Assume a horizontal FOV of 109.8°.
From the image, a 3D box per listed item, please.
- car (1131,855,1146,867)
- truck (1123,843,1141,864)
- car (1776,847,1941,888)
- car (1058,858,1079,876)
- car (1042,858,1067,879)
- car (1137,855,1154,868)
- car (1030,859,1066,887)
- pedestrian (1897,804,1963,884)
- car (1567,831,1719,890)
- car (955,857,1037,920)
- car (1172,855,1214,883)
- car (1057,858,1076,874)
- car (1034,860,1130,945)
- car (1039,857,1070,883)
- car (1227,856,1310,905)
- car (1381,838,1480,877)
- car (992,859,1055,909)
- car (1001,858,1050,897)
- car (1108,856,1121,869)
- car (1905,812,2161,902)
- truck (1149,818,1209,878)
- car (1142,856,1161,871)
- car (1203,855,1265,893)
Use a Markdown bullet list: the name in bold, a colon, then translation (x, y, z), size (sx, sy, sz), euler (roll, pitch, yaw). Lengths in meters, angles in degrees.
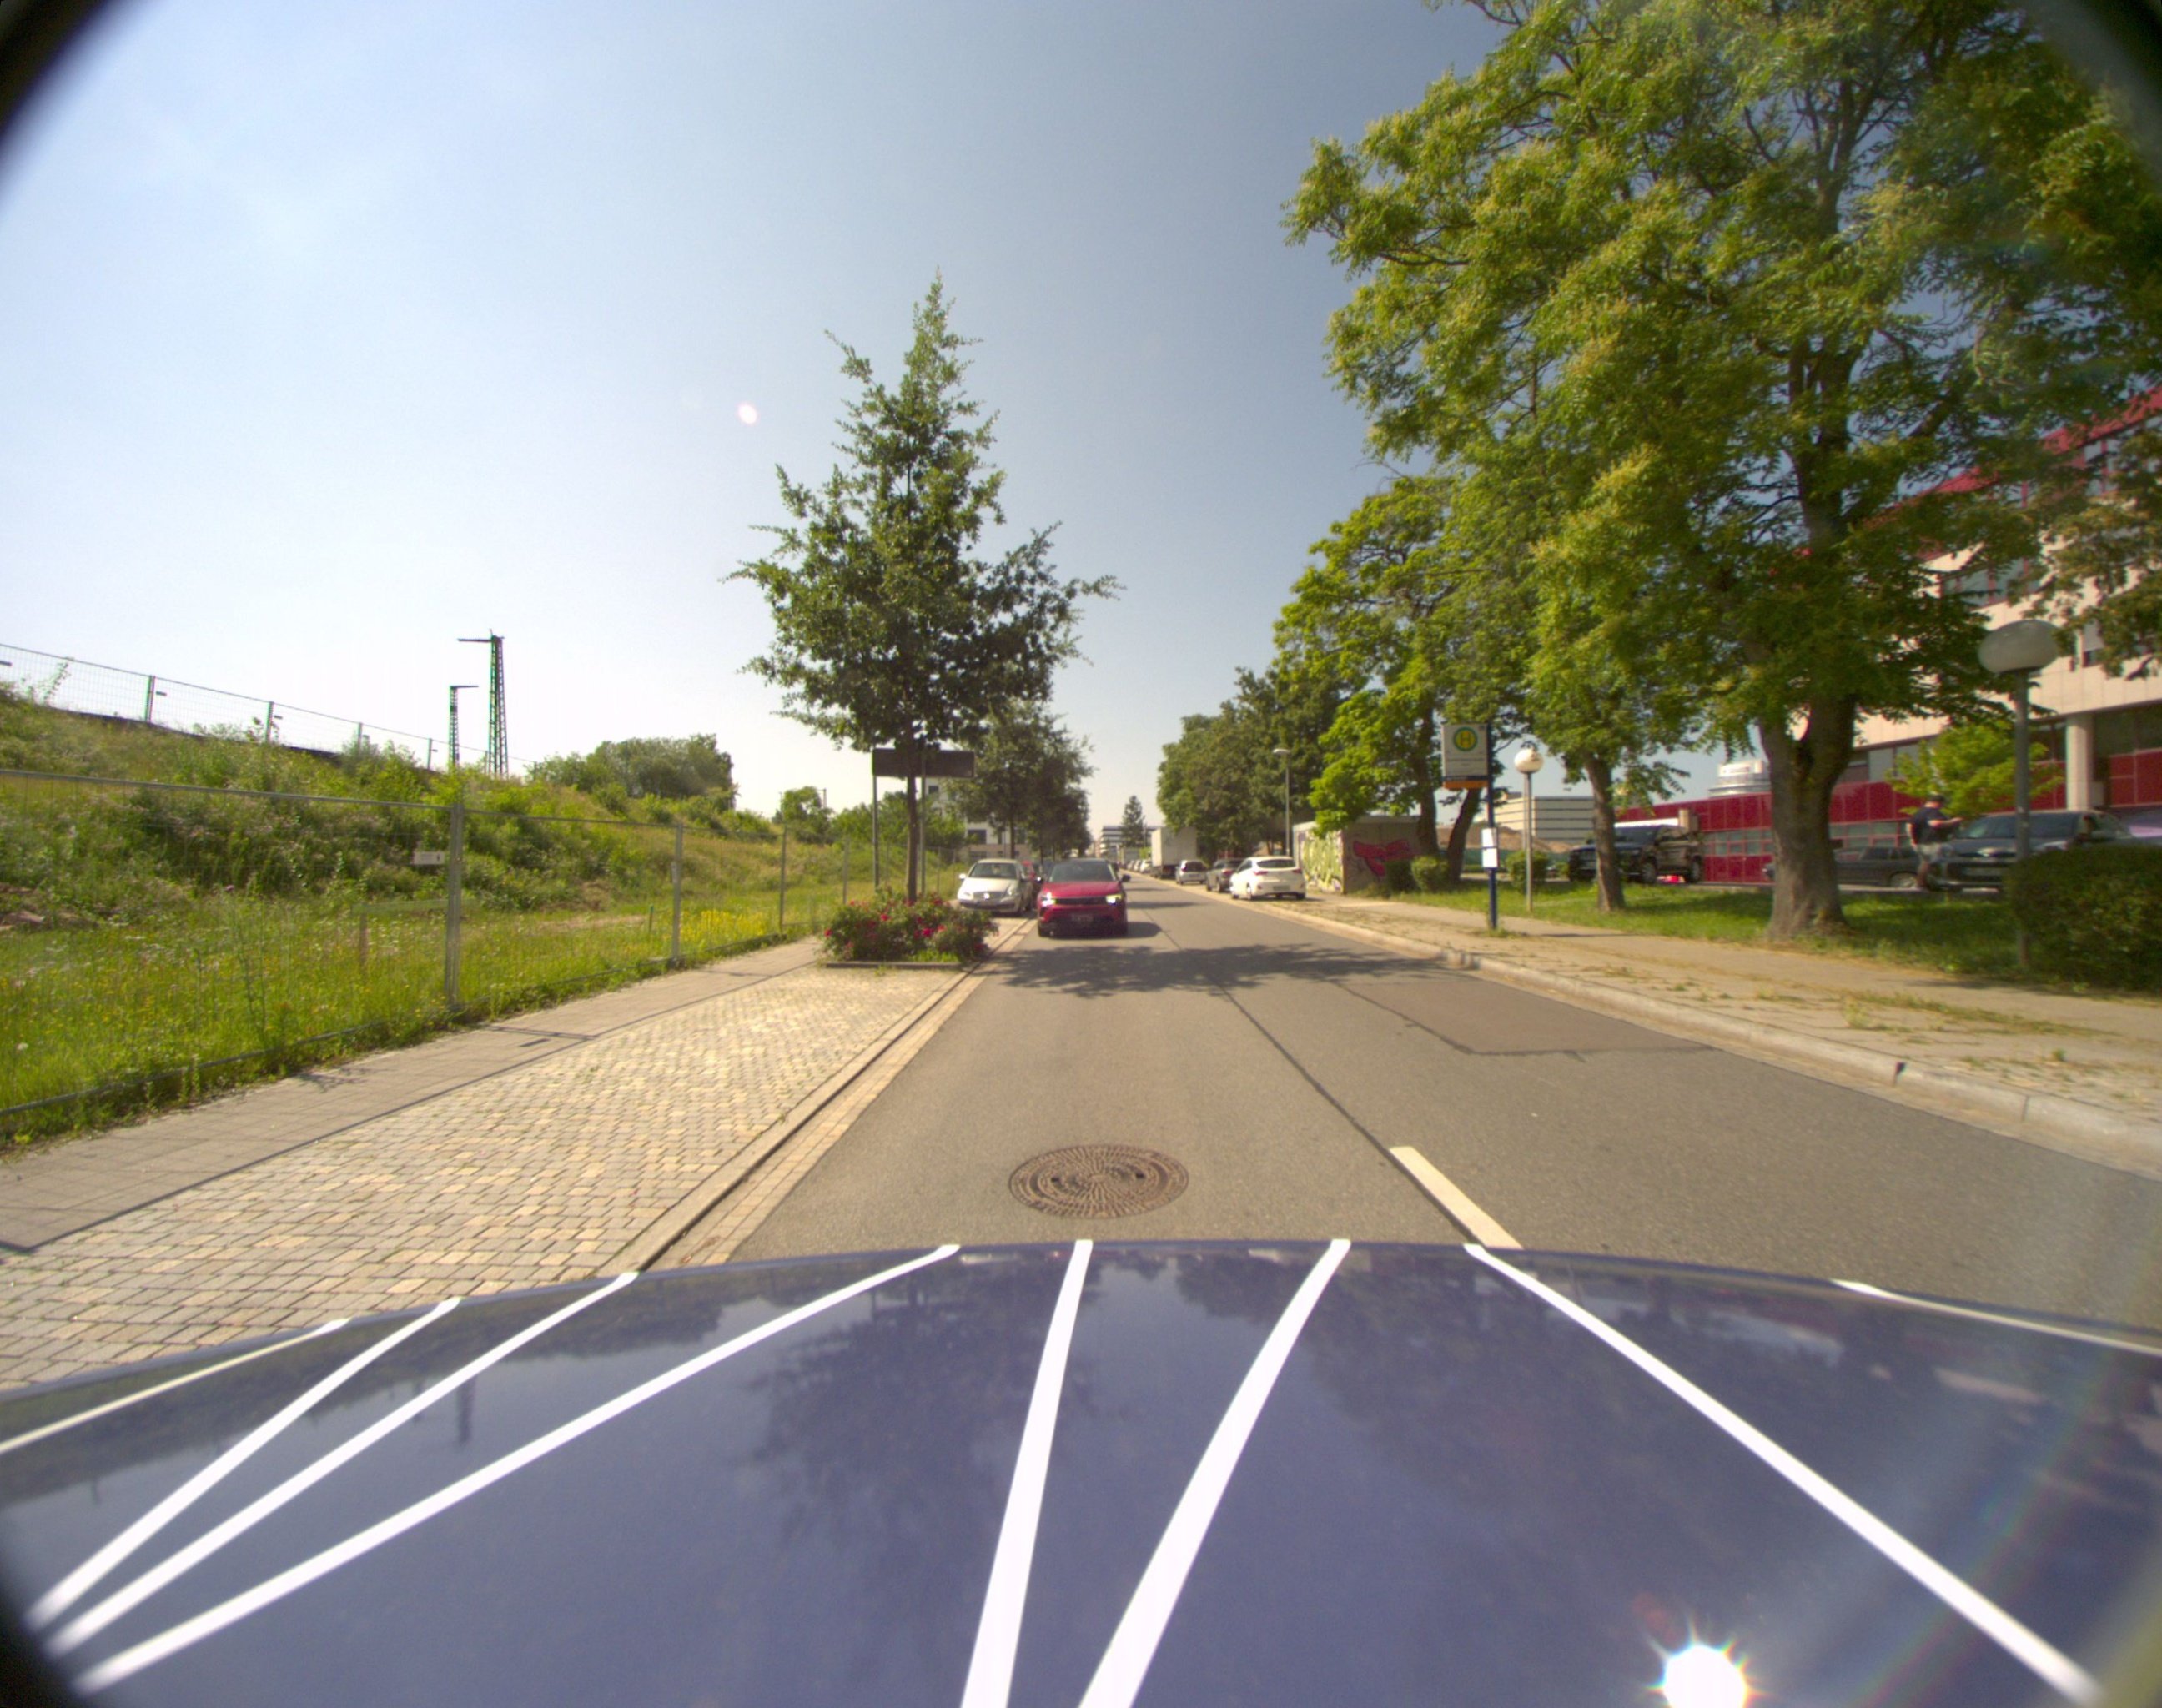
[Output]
- **car**: translation (7.993, 0.957, 105.679), size (1.814, 1.506, 4.001), euler (-2, 0, 2)
- **truck**: translation (8.147, -0.071, 121.420), size (2.701, 3.300, 7.345), euler (-1, 0, 4)
- **car**: translation (28.925, 0.509, 28.472), size (4.228, 1.443, 1.726), euler (-1, 0, 43)
- **car**: translation (-1.137, 1.181, 71.104), size (1.847, 1.606, 4.000), euler (1, -1, 1)
- **car**: translation (-2.143, 1.167, 62.162), size (1.847, 1.606, 4.000), euler (1, -1, 1)
- **car**: translation (7.926, 0.953, 93.253), size (1.814, 1.506, 4.001), euler (-2, 0, 2)
- **car**: translation (-1.884, 1.064, 44.258), size (1.869, 1.533, 4.000), euler (-1, 0, 0)
- **pedestrian**: translation (16.569, -0.189, 14.847), size (0.563, 1.518, 0.758), euler (-1, 0, 22)
- **car**: translation (16.191, 0.150, 21.813), size (4.824, 1.484, 1.848), euler (-2, 0, -32)
- **car**: translation (-2.400, 0.948, 22.504), size (1.847, 1.606, 4.370), euler (2, -1, 1)
- **car**: translation (6.559, 0.856, 44.817), size (1.815, 1.506, 4.000), euler (-2, 0, 0)
- **car**: translation (-1.471, 1.217, 79.089), size (1.847, 1.606, 4.000), euler (1, -1, 1)
- **car**: translation (0.018, 0.947, 16.744), size (1.821, 1.594, 4.307), euler (-1, 0, 0)
- **car**: translation (-1.723, 1.065, 50.584), size (1.847, 1.606, 4.000), euler (1, -1, 1)
- **car**: translation (6.251, 0.836, 25.754), size (1.766, 1.484, 4.000), euler (-2, 0, 0)
- **car**: translation (17.116, 0.155, 37.215), size (4.724, 1.793, 1.996), euler (0, -1, -30)
- **car**: translation (-1.957, 1.015, 26.854), size (1.847, 1.606, 4.000), euler (1, -1, 1)
- **car**: translation (-2.441, 1.034, 34.336), size (1.847, 1.606, 4.000), euler (1, -1, 1)
- **car**: translation (4.681, 1.235, 107.233), size (1.790, 1.783, 4.001), euler (-1, 0, 2)
- **car**: translation (16.616, 0.019, 13.205), size (3.993, 1.330, 1.715), euler (-2, 0, -21)
- **truck**: translation (7.262, -0.379, 57.659), size (3.353, 4.119, 9.279), euler (-2, 0, 1)
- **car**: translation (7.616, 0.985, 82.205), size (1.814, 1.506, 4.001), euler (-2, 0, 2)
- **car**: translation (6.590, 0.832, 33.052), size (1.815, 1.506, 4.000), euler (-2, 0, 0)
